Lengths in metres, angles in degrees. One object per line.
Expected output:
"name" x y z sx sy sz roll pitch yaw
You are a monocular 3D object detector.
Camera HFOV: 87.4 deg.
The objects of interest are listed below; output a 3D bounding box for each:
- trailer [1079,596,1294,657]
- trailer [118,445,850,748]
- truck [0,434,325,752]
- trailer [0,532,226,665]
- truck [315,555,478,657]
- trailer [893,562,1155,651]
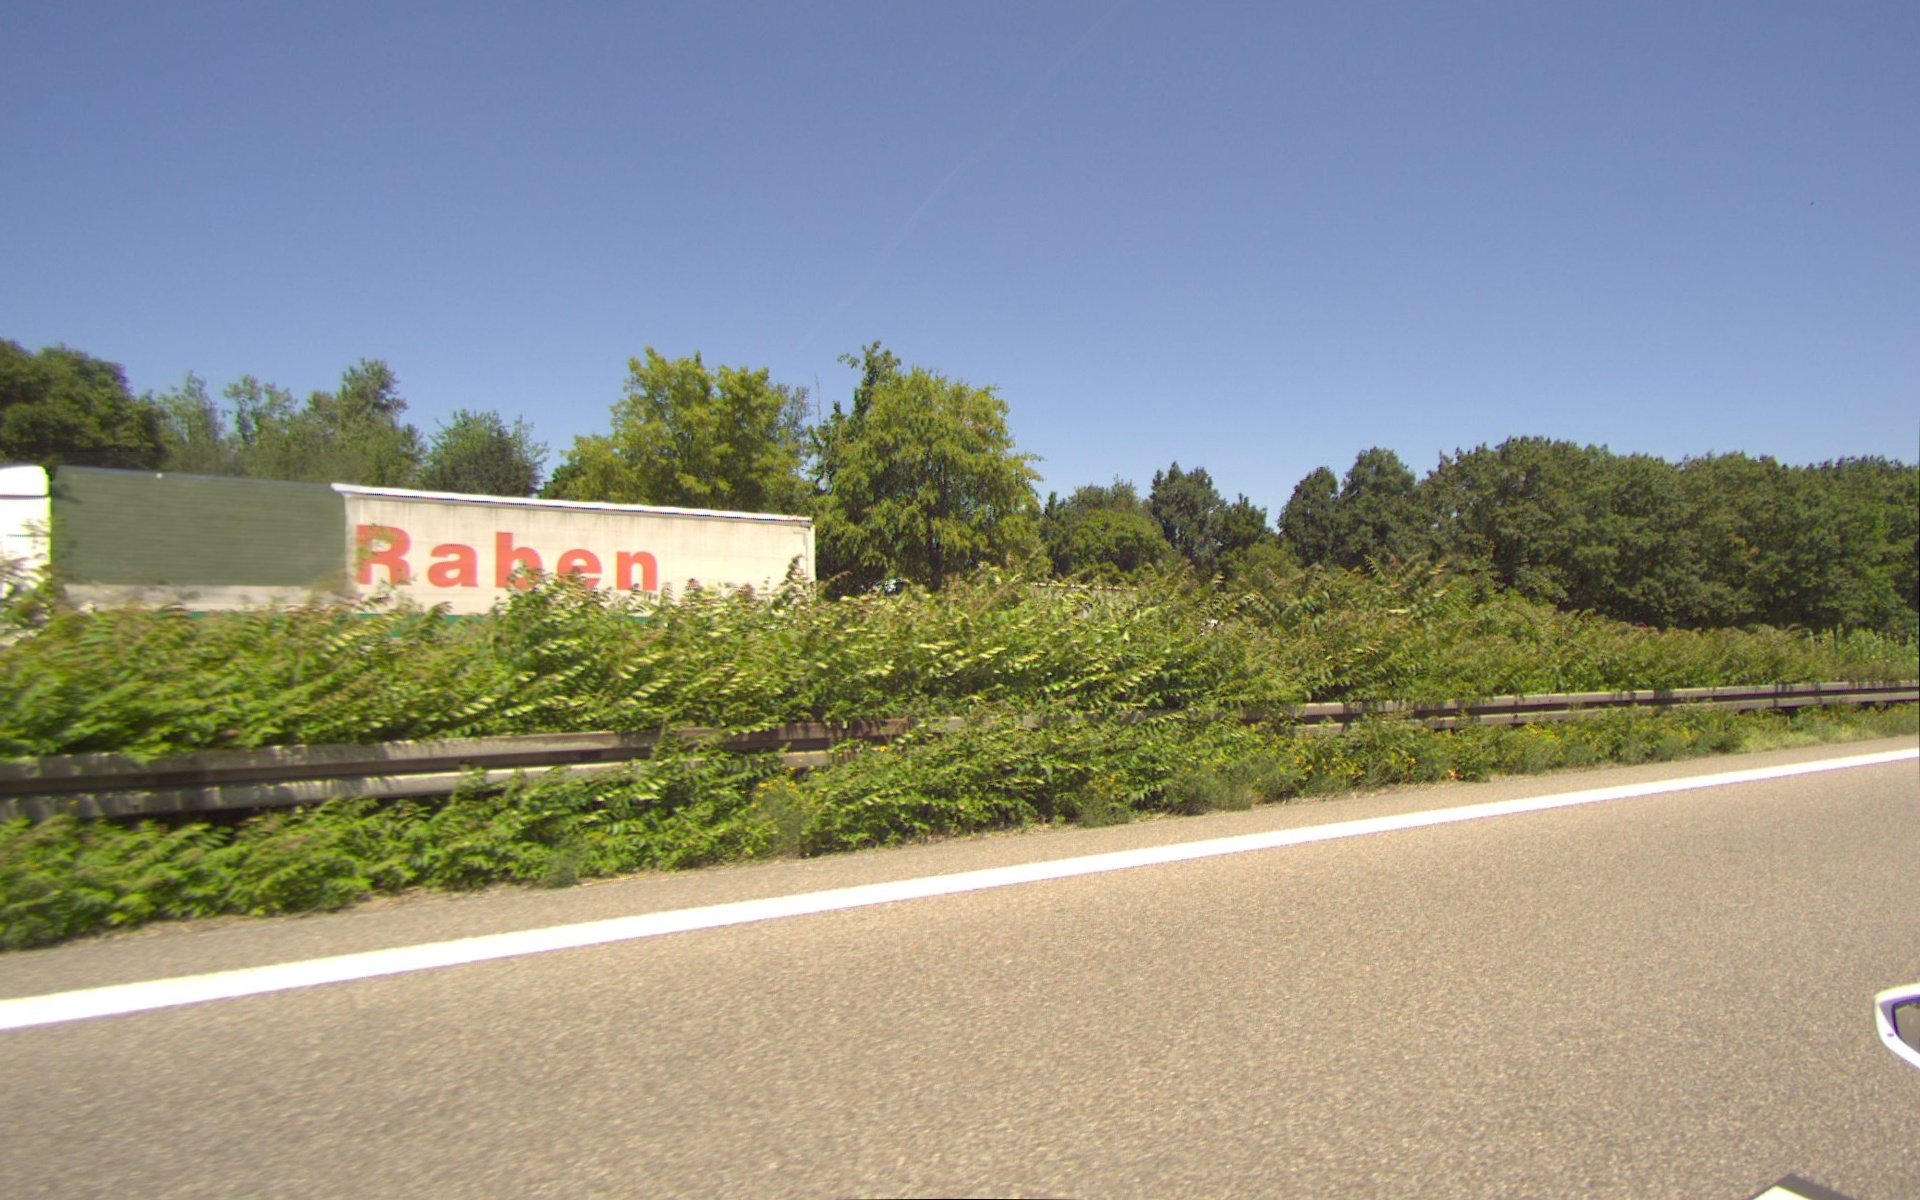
"trailer" 14.817 1.809 65.406 13.802 3.704 3.599 1 -2 -18
"trailer" -7.847 0.080 18.542 11.359 4.329 2.887 2 0 -31
"truck" -13.047 -0.084 15.371 5.430 4.329 2.887 2 0 -31
"trailer" -35.194 -0.037 36.023 13.853 4.652 3.586 1 -2 -29
"truck" -27.173 0.379 48.862 6.507 4.652 3.591 1 -2 -25
"trailer" 3.574 0.458 52.824 13.859 4.191 3.206 2 0 -25
